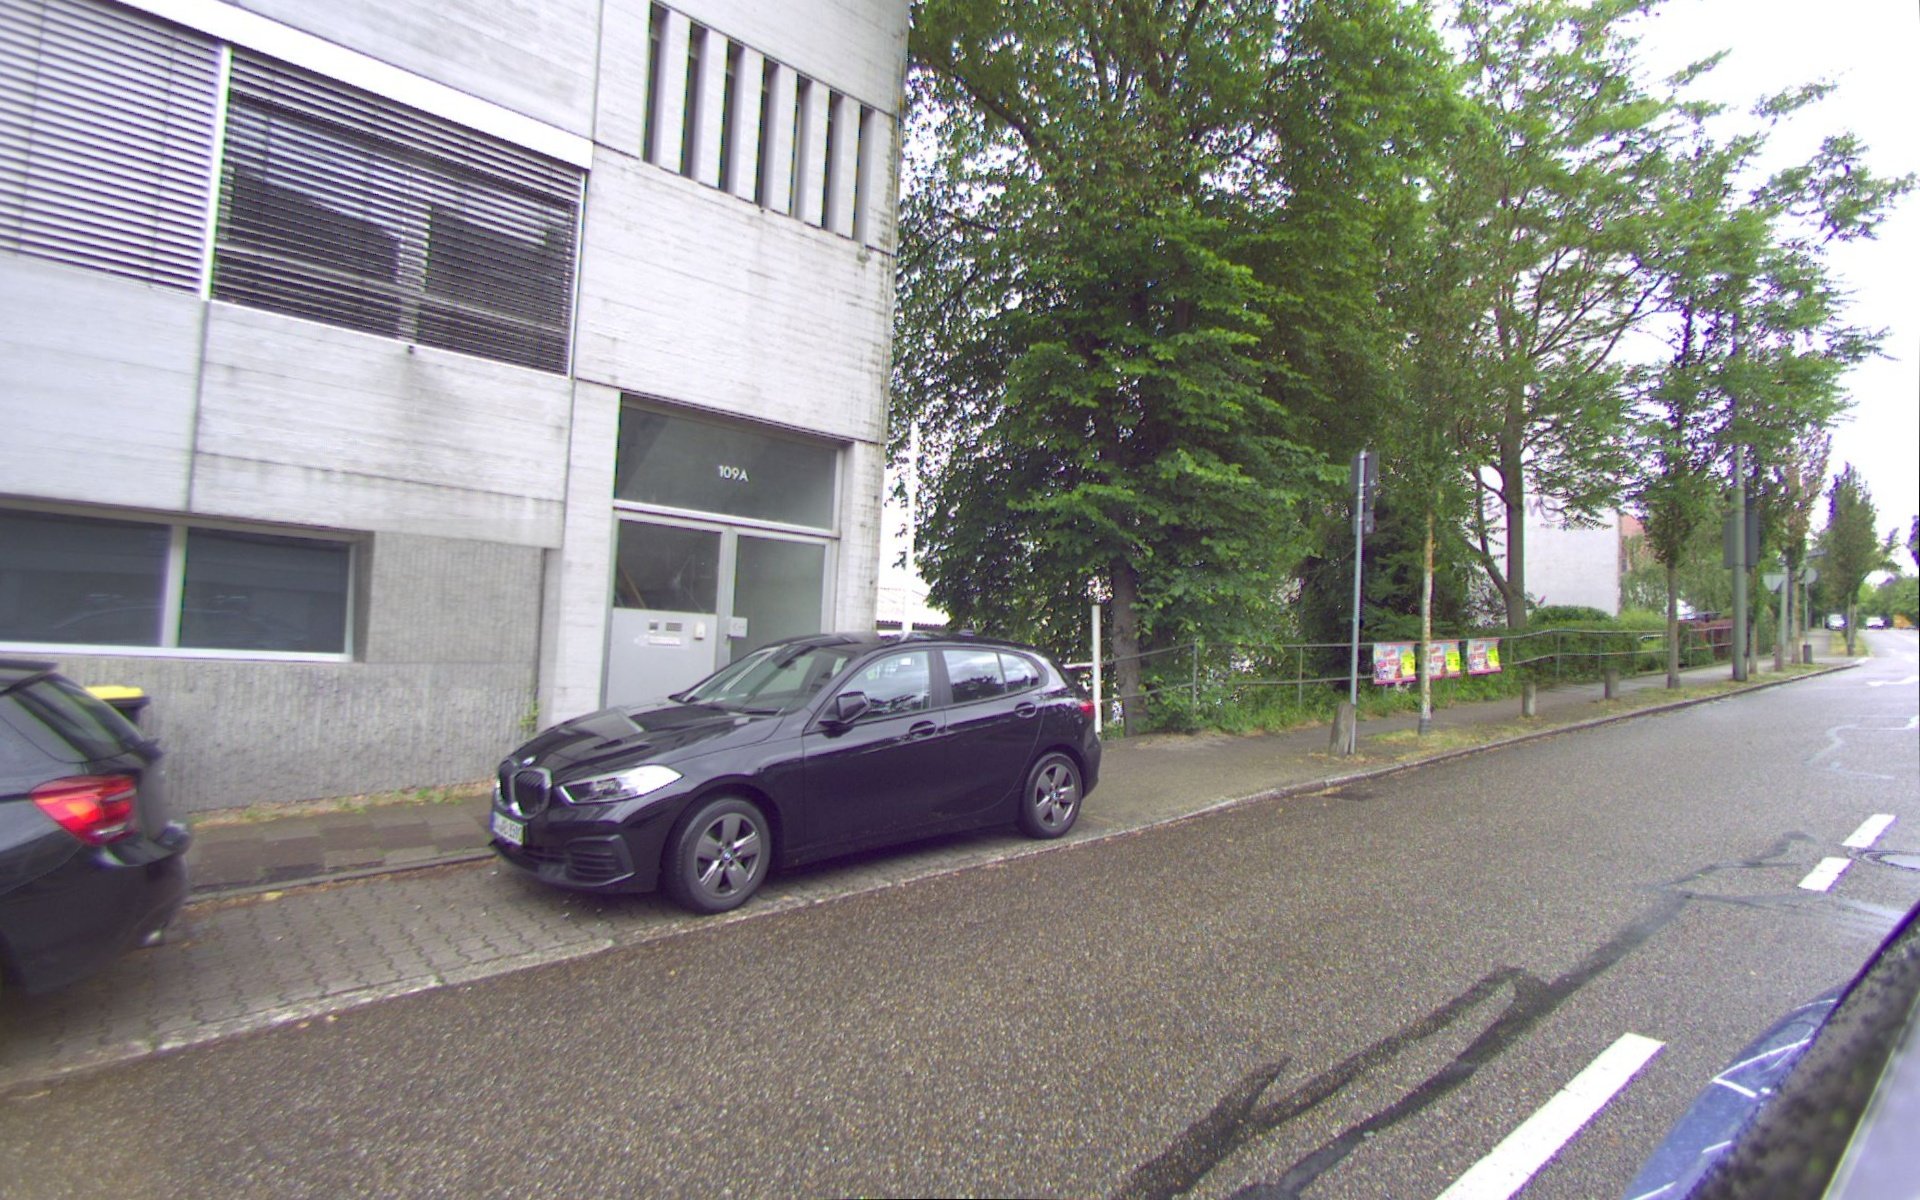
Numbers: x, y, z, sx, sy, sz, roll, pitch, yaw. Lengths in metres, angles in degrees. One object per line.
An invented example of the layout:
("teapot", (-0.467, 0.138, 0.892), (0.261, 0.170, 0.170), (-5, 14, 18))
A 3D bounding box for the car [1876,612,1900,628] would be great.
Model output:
("car", (110.867, 2.376, 120.854), (4.168, 1.741, 1.888), (-1, 2, -45))

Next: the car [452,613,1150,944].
("car", (-0.834, 0.858, 6.934), (4.367, 1.453, 1.996), (0, 1, -43))

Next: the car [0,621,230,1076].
("car", (-4.899, 0.847, 3.175), (4.173, 1.466, 1.753), (0, 0, -38))
